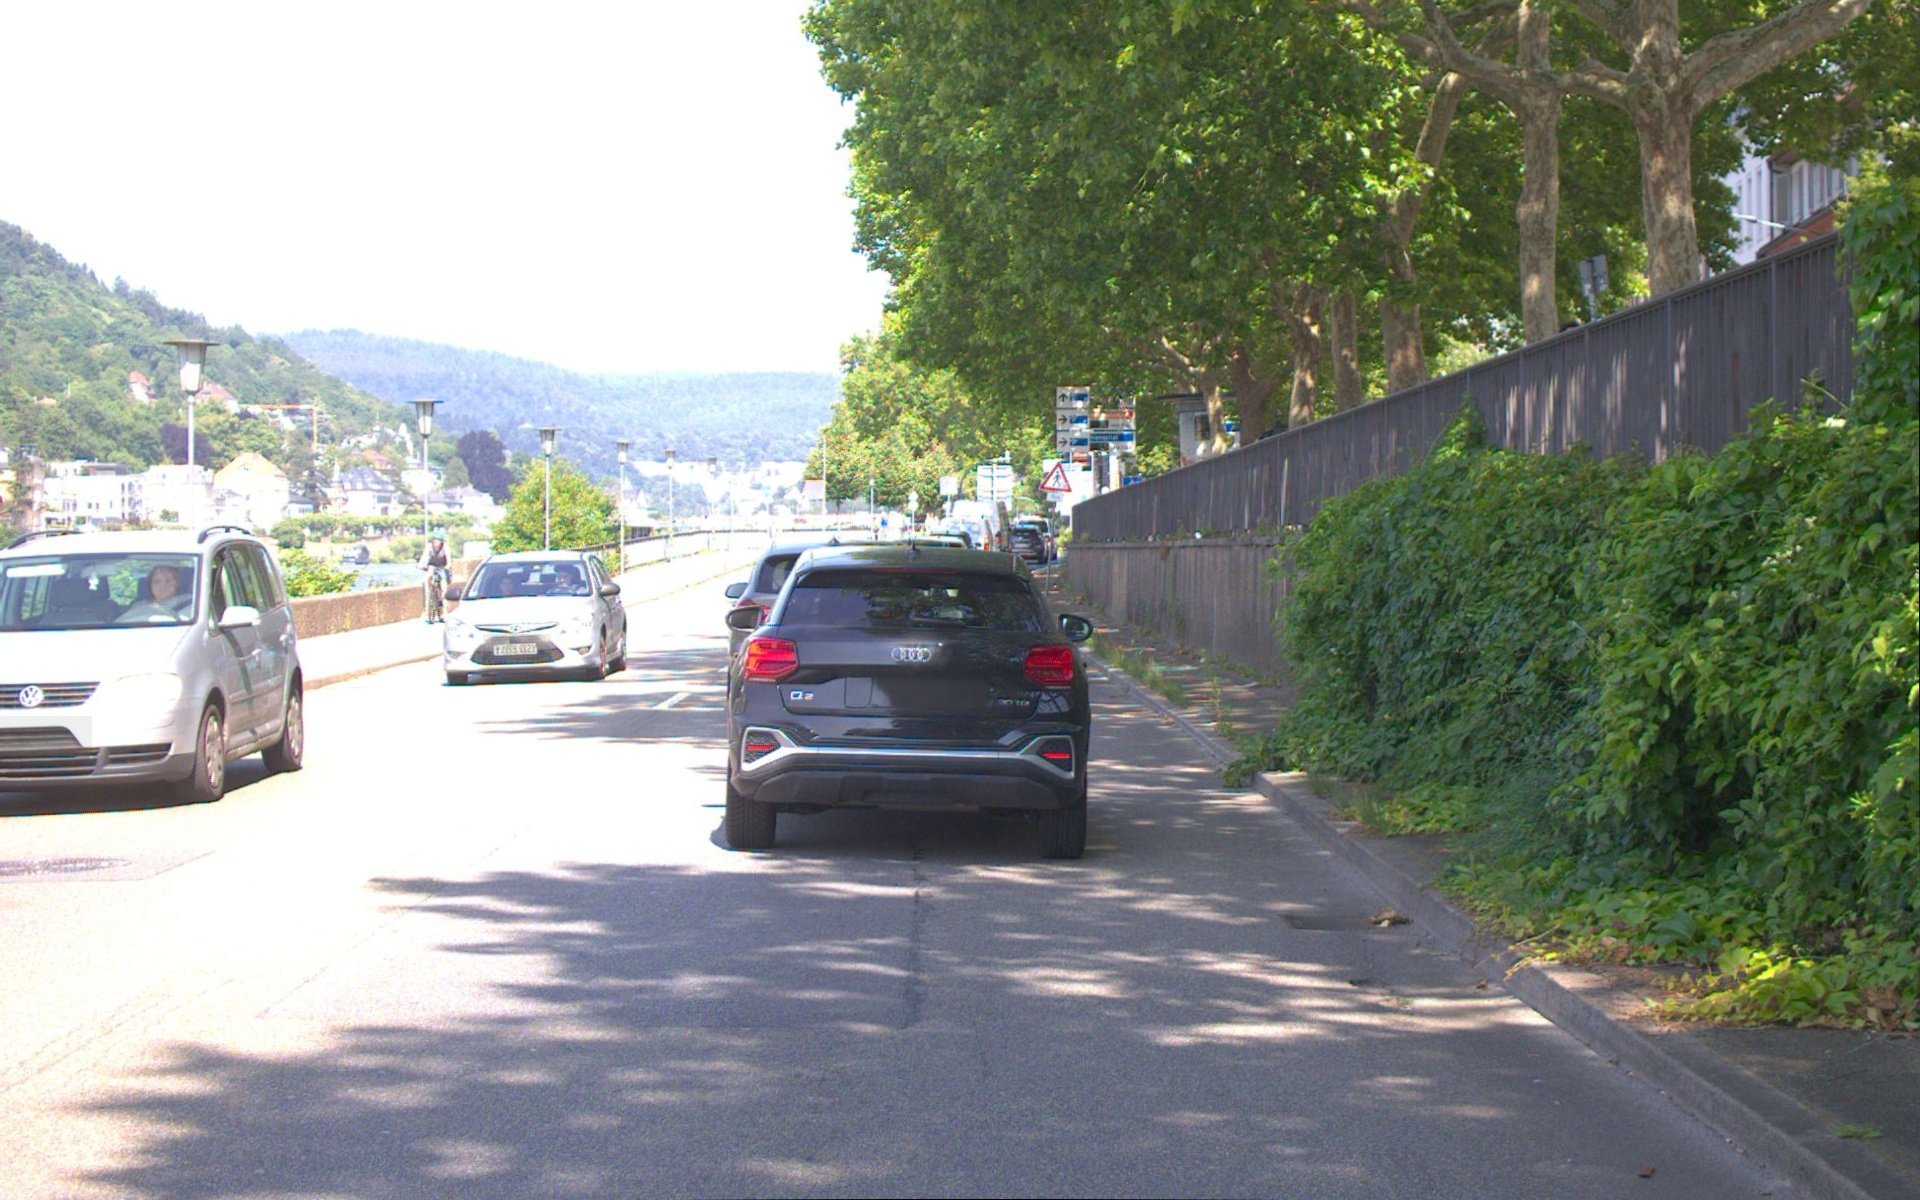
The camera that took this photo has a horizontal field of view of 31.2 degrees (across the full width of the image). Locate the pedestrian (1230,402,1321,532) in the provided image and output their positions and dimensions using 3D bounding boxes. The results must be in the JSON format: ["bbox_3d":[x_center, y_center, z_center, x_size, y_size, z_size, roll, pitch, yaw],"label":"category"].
[{"bbox_3d":[3.992,-1.674,43.553,0.936,1.574,1.028,-3,1,-2],"label":"pedestrian"}]

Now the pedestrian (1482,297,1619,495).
[{"bbox_3d":[4.244,-1.456,24.740,0.753,1.361,0.814,-3,1,-2],"label":"pedestrian"}]

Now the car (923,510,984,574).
[{"bbox_3d":[-0.235,-1.992,117.716,1.993,2.162,4.000,0,1,-1],"label":"car"}]

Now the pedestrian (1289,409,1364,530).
[{"bbox_3d":[4.252,-1.507,39.965,0.680,1.361,0.989,-3,1,-1],"label":"pedestrian"}]

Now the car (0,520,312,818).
[{"bbox_3d":[-5.272,0.358,21.367,1.731,1.644,4.178,-2,1,-1],"label":"car"}]

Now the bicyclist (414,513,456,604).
[{"bbox_3d":[-9.662,-0.763,63.288,0.637,1.668,0.871,0,1,-1],"label":"bicyclist"}]

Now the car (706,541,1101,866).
[{"bbox_3d":[-0.306,0.453,18.080,1.828,1.481,4.000,1,1,-1],"label":"car"}]

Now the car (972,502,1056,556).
[{"bbox_3d":[2.156,-2.872,139.011,3.098,2.007,5.825,-3,1,-1],"label":"car"}]

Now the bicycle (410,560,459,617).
[{"bbox_3d":[-9.657,-0.221,63.214,0.632,1.008,1.986,0,1,-1],"label":"bicycle"}]

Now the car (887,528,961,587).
[{"bbox_3d":[-0.930,-1.091,87.607,1.828,1.439,4.000,1,1,-1],"label":"car"}]

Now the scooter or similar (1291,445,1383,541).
[{"bbox_3d":[4.273,-1.206,39.017,0.855,1.023,1.107,-3,1,-1],"label":"scooter or similar"}]

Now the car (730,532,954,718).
[{"bbox_3d":[-1.019,0.170,30.342,1.828,1.506,4.000,1,1,-1],"label":"car"}]

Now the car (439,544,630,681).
[{"bbox_3d":[-4.824,0.108,39.474,1.731,1.437,4.046,-2,1,-1],"label":"car"}]

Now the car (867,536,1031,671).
[{"bbox_3d":[-0.165,0.001,40.657,1.828,1.481,4.000,1,1,-1],"label":"car"}]

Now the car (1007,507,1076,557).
[{"bbox_3d":[3.509,-2.972,149.545,2.661,2.007,5.825,-3,1,-1],"label":"car"}]

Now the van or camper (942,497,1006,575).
[{"bbox_3d":[0.544,-2.364,127.436,2.310,2.837,4.246,0,1,1],"label":"van or camper"}]
